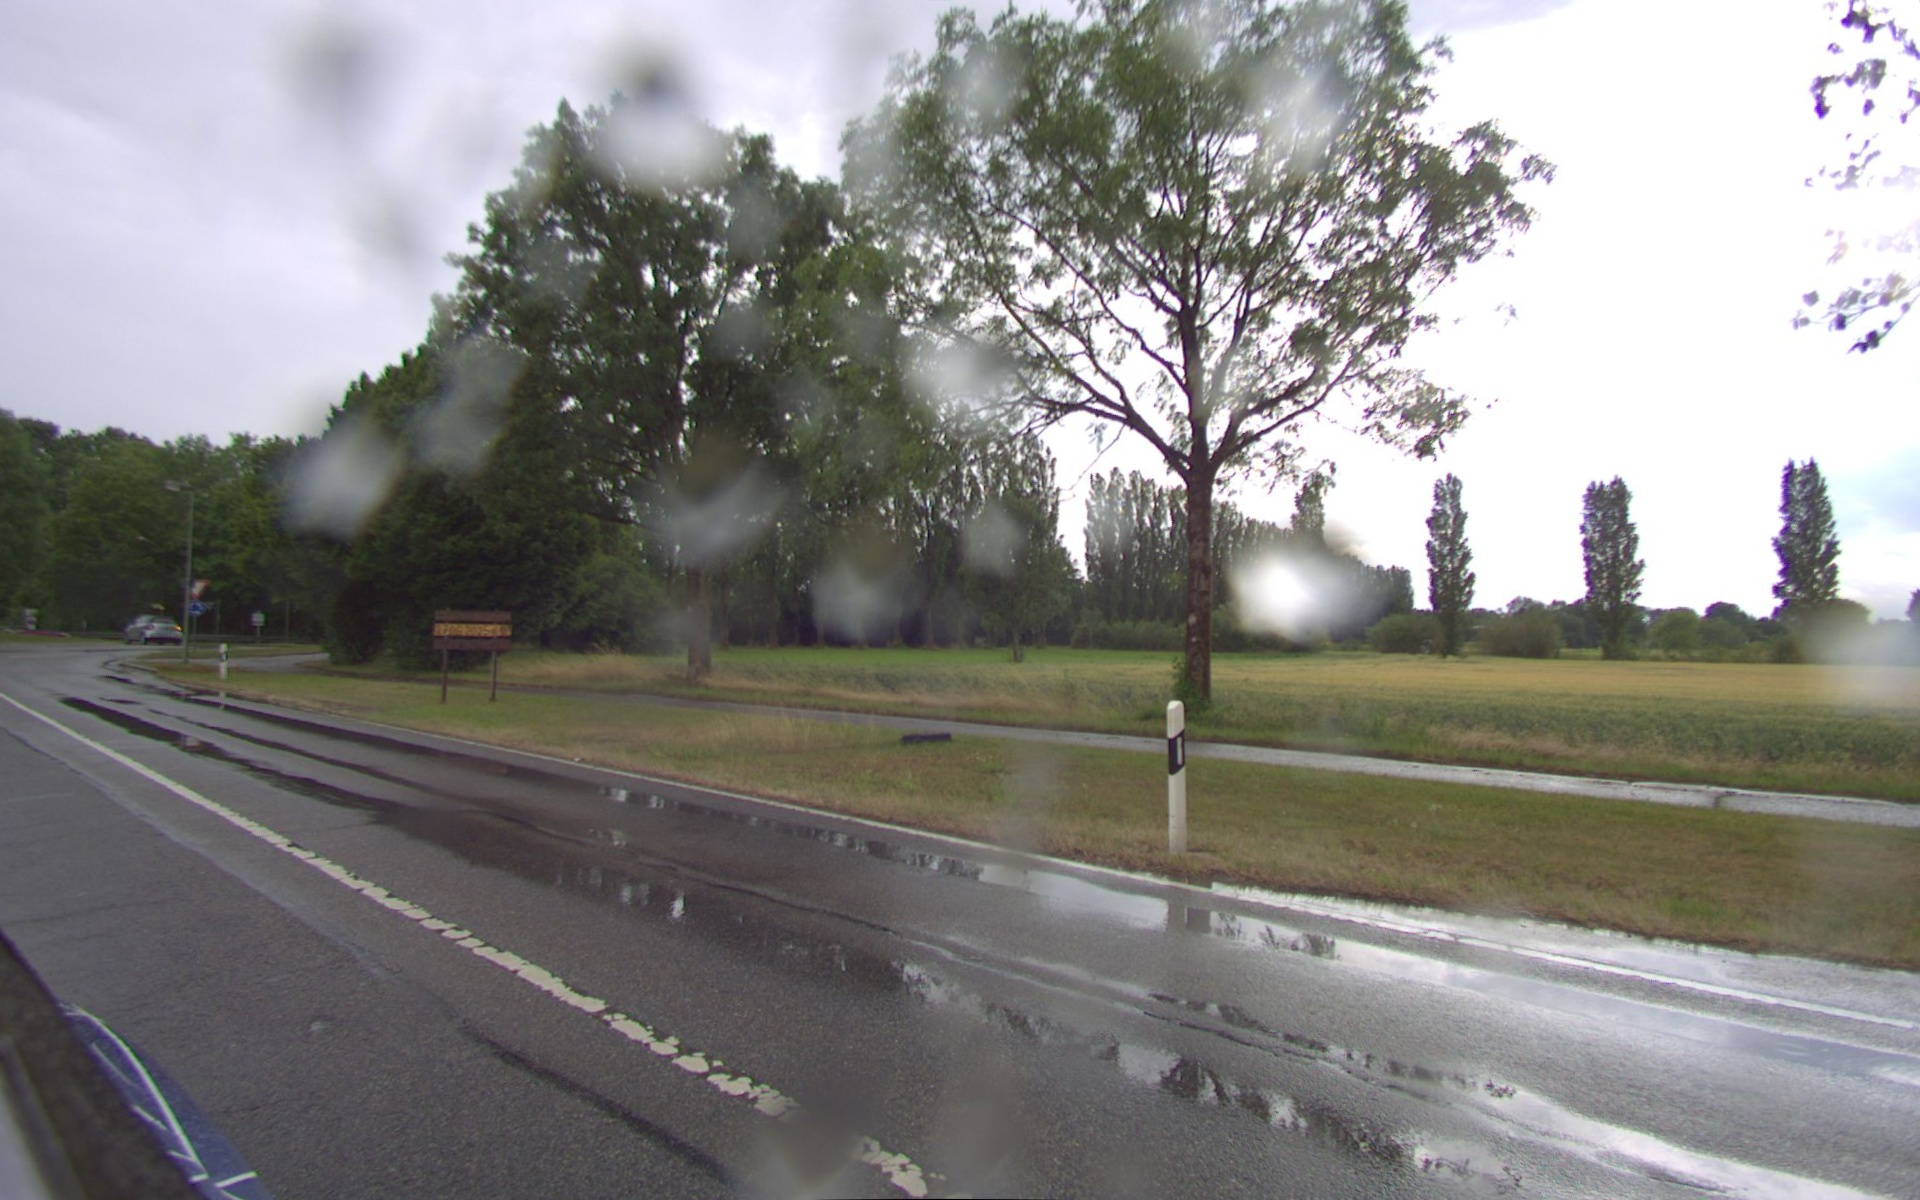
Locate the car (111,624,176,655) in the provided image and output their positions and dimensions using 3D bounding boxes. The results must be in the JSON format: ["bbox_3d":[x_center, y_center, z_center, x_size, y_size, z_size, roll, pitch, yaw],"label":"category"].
[{"bbox_3d":[-41.981,2.040,52.036,3.727,1.510,1.660,-1,-3,36],"label":"car"}]
